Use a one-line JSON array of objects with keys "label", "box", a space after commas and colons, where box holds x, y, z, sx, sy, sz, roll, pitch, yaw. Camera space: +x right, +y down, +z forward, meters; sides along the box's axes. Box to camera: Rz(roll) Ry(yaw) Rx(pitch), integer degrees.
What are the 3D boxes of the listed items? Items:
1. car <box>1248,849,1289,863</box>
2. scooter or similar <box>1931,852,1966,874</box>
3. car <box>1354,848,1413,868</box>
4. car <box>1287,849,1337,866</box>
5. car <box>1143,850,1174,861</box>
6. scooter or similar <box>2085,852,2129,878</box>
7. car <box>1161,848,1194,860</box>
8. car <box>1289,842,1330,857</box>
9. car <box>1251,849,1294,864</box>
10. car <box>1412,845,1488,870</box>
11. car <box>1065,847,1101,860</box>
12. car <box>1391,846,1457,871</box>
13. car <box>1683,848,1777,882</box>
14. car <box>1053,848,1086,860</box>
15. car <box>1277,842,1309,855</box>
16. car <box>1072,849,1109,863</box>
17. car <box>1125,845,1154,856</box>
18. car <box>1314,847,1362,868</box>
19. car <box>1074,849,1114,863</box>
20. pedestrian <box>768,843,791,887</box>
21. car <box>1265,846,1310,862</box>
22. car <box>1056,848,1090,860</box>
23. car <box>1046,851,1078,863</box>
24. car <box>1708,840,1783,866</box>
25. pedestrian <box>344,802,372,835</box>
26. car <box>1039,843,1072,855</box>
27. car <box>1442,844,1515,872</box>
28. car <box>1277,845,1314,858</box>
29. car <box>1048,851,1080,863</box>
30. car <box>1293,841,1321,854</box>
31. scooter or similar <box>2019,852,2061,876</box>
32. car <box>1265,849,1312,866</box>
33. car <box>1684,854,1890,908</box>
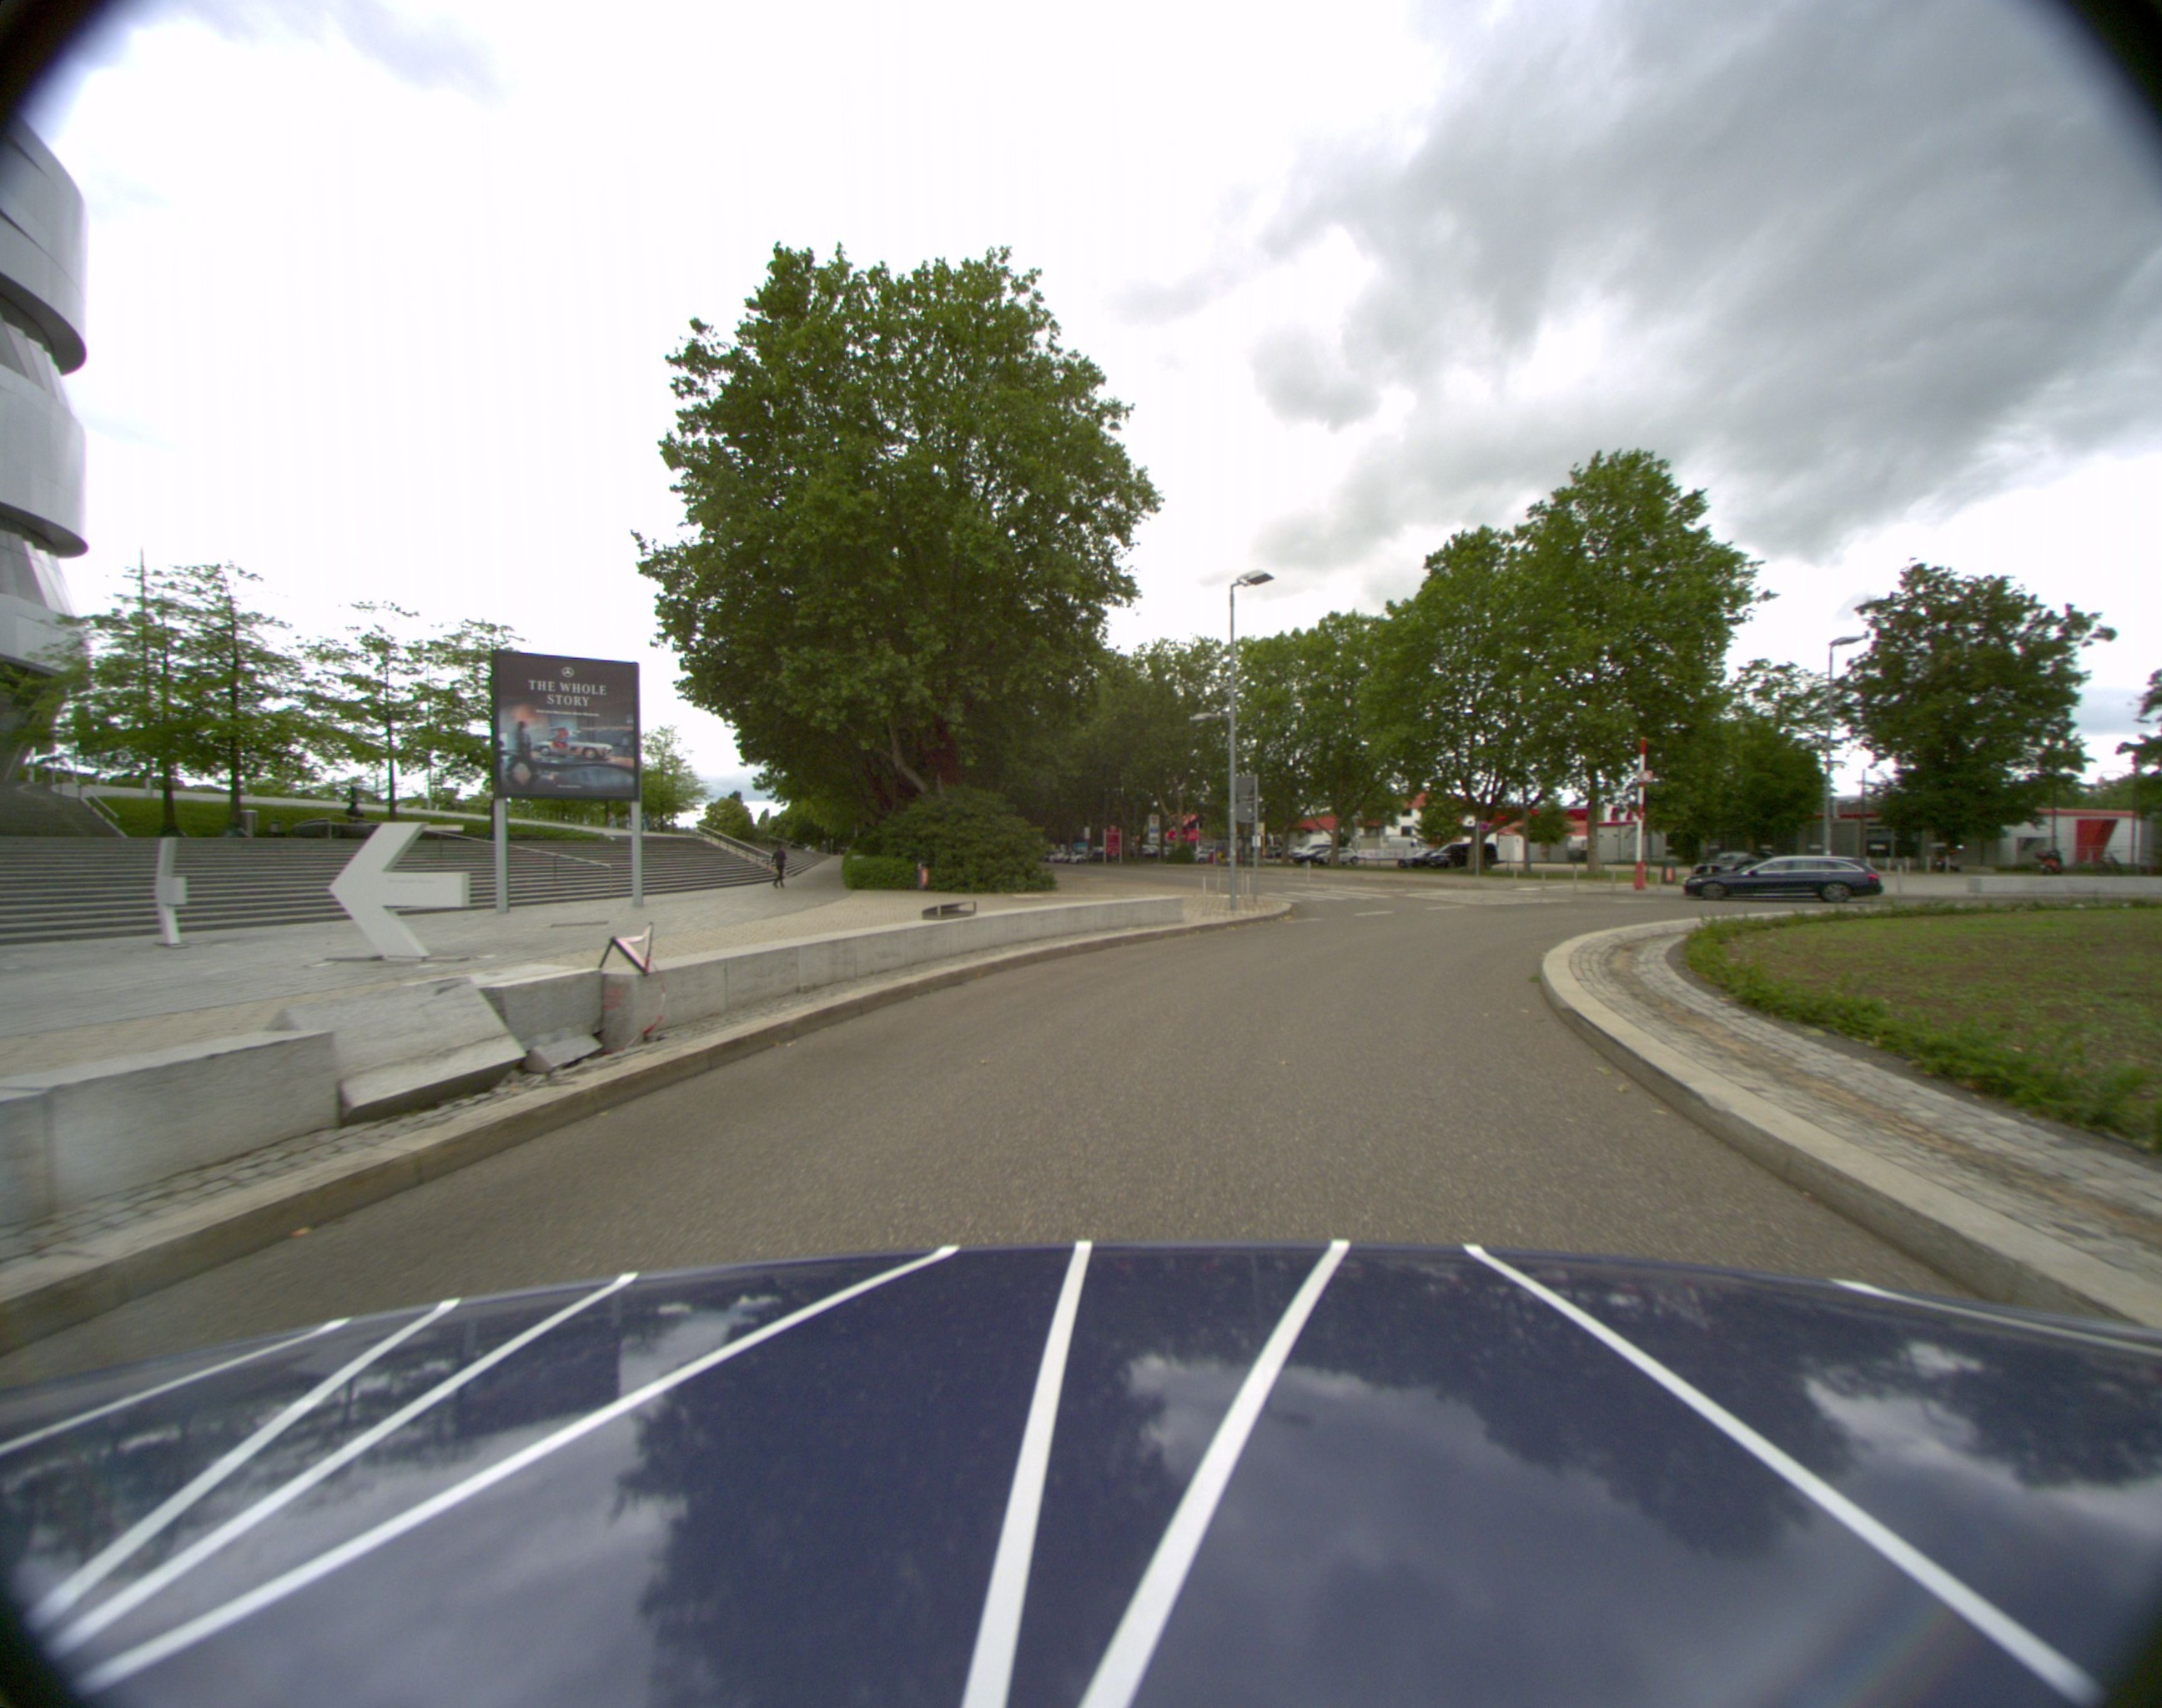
[{"label": "car", "box": [20.838, 0.233, 84.353, 4.008, 1.509, 1.870, -1, 0, -10]}, {"label": "scooter or similar", "box": [44.866, 0.481, 39.290, 1.811, 1.088, 0.544, -1, 1, -20]}, {"label": "car", "box": [24.359, 0.294, 61.303, 4.008, 1.509, 1.870, -1, 0, -10]}, {"label": "car", "box": [21.458, 0.329, 70.573, 4.008, 1.509, 1.870, -1, 0, -10]}, {"label": "car", "box": [10.976, 0.210, 107.272, 4.007, 1.509, 1.870, -1, 0, -9]}, {"label": "scooter or similar", "box": [45.787, 0.476, 33.907, 1.977, 1.103, 0.639, -1, 1, -20]}, {"label": "car", "box": [12.817, 0.050, 100.887, 4.007, 1.509, 1.870, -1, 0, -9]}, {"label": "car", "box": [27.272, -0.535, 90.555, 4.441, 1.642, 1.794, -1, 0, -20]}, {"label": "car", "box": [20.324, 0.279, 80.860, 4.008, 1.509, 1.870, -1, 0, -10]}, {"label": "car", "box": [26.359, 0.238, 54.252, 4.816, 1.718, 2.009, -1, 0, -19]}, {"label": "car", "box": [0.219, -0.049, 91.048, 4.007, 1.509, 1.870, -1, 0, -10]}, {"label": "car", "box": [25.616, 0.304, 56.755, 4.295, 1.718, 2.009, -1, 0, -19]}, {"label": "car", "box": [31.856, 0.520, 37.323, 3.829, 1.516, 1.776, -1, 0, -19]}, {"label": "car", "box": [-1.515, 0.004, 97.135, 4.007, 1.509, 1.870, -1, 0, -10]}, {"label": "car", "box": [28.757, -0.740, 103.120, 3.960, 1.642, 1.794, -1, 0, -20]}, {"label": "car", "box": [1.065, 0.209, 87.387, 4.007, 1.509, 1.870, -1, 0, -10]}, {"label": "car", "box": [8.861, -0.529, 114.353, 4.007, 1.509, 1.870, -1, 0, -9]}, {"label": "car", "box": [23.153, 0.330, 68.511, 3.712, 1.767, 1.669, -1, 0, -10]}, {"label": "car", "box": [1.461, 0.244, 85.238, 4.177, 1.509, 1.870, -1, 0, -10]}, {"label": "pedestrian", "box": [-12.142, 0.449, 30.608, 0.554, 1.751, 0.596, -1, 1, 28]}, {"label": "car", "box": [21.014, 0.031, 77.556, 4.008, 1.509, 1.870, -1, 0, -10]}, {"label": "car", "box": [-1.005, -0.001, 94.861, 4.007, 1.509, 1.870, -1, 0, -10]}, {"label": "car", "box": [-2.593, 0.409, 101.435, 4.007, 1.509, 1.870, -1, 0, -10]}, {"label": "car", "box": [44.565, -0.060, 51.063, 1.794, 1.642, 4.440, -1, 0, 11]}, {"label": "pedestrian", "box": [-30.675, -1.487, 32.226, 0.681, 1.379, 0.793, -1, 1, 43]}, {"label": "car", "box": [-3.601, -0.692, 107.085, 4.439, 1.642, 1.794, -1, 0, -15]}, {"label": "car", "box": [26.931, 0.257, 51.493, 4.295, 1.718, 2.009, -1, 0, -19]}, {"label": "car", "box": [26.344, -0.248, 93.317, 4.010, 1.509, 1.869, -1, 0, -18]}, {"label": "car", "box": [-2.215, 0.399, 99.001, 4.007, 1.509, 1.870, -1, 0, -10]}, {"label": "car", "box": [31.752, -0.888, 106.878, 1.798, 1.710, 3.950, -1, 0, -20]}, {"label": "scooter or similar", "box": [45.361, 0.476, 35.953, 1.977, 1.103, 0.639, -1, 1, -20]}, {"label": "car", "box": [20.166, 0.312, 73.958, 4.008, 1.509, 1.870, -1, 0, -10]}, {"label": "car", "box": [22.491, 0.832, 24.508, 4.714, 1.555, 1.800, -1, 0, 37]}]
